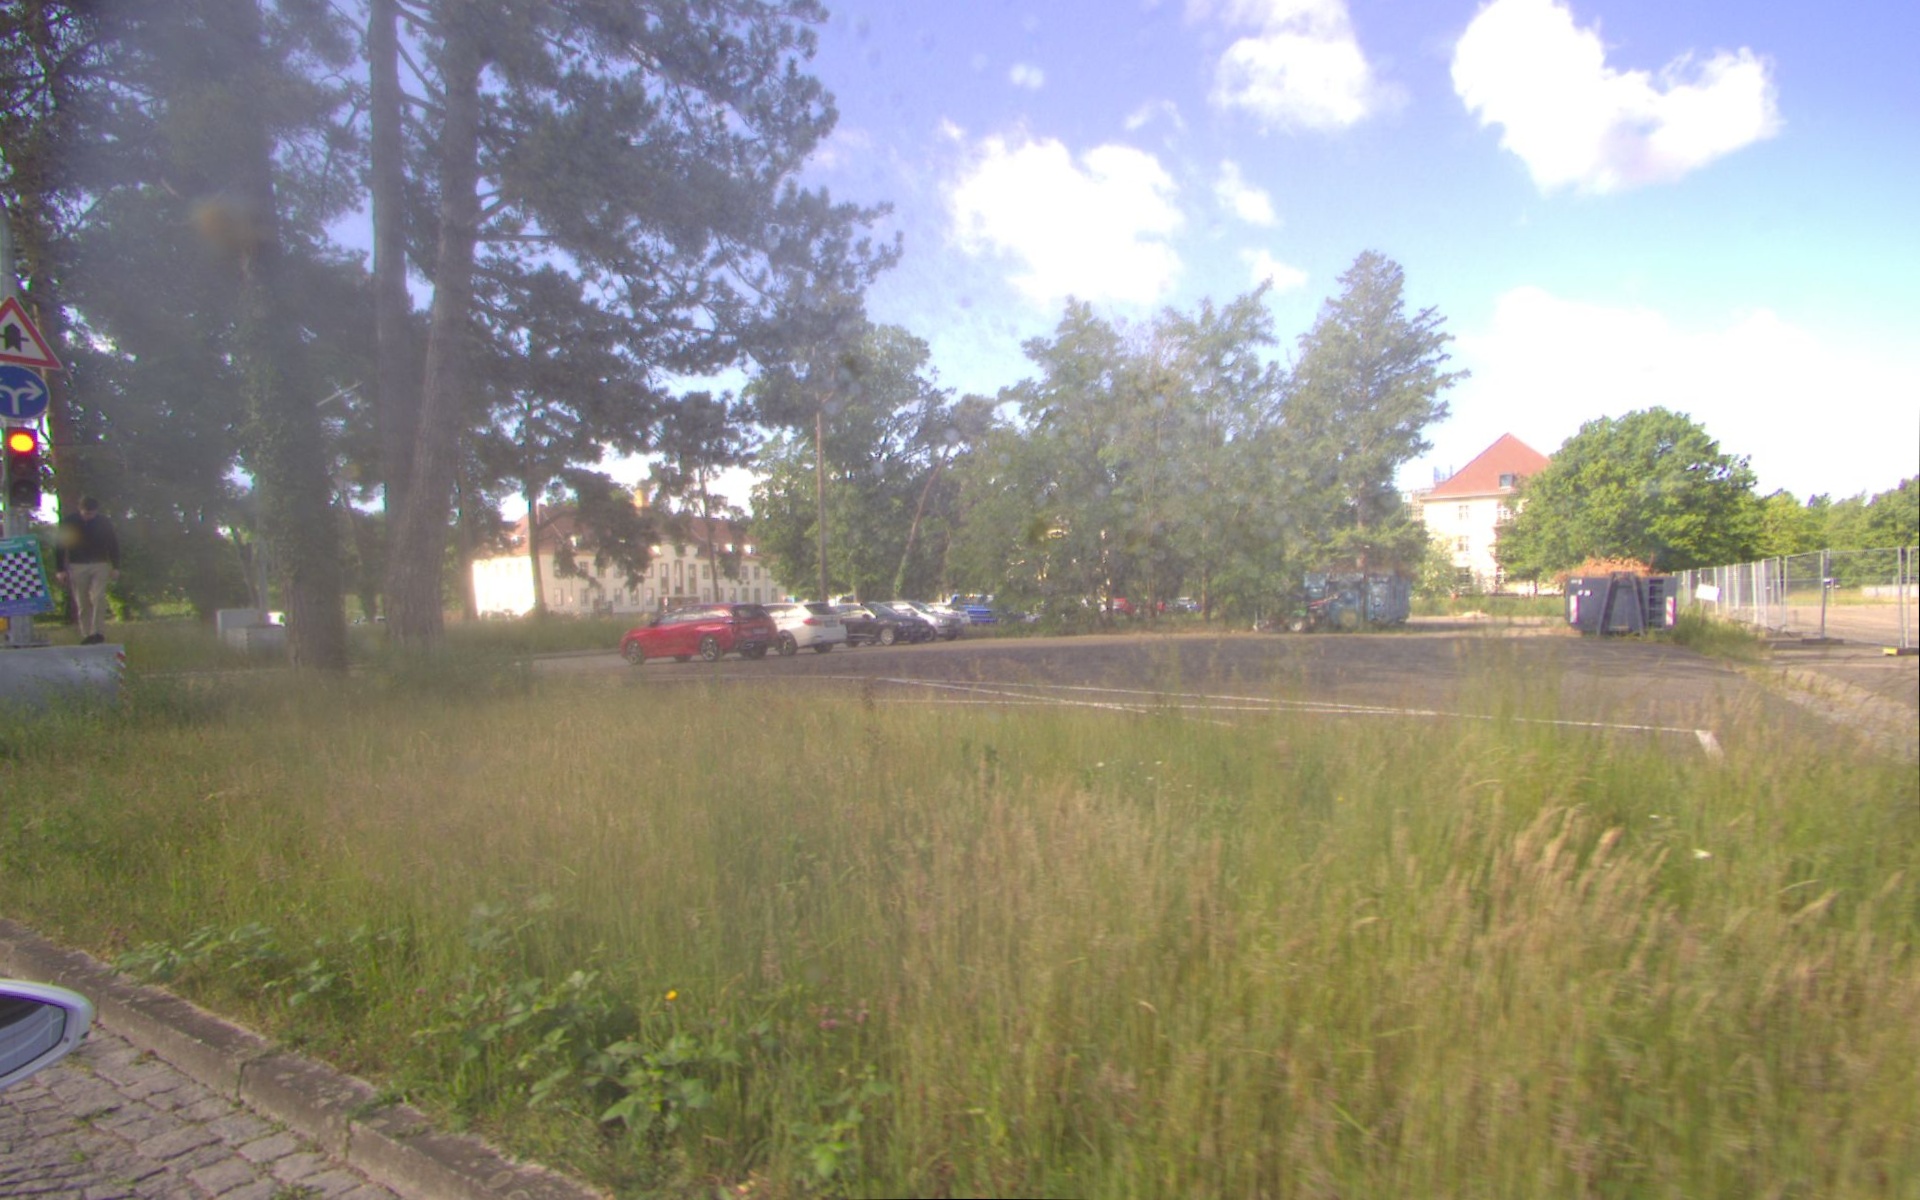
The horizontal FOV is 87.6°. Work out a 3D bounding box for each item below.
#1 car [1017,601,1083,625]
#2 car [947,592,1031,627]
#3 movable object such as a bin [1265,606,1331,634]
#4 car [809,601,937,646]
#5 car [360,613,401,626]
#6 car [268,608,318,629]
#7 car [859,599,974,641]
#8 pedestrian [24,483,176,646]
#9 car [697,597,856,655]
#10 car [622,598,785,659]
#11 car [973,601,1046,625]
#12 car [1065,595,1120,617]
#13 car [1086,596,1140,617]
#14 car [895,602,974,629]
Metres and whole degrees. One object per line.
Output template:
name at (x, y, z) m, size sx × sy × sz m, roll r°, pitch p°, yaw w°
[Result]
car at (6.055, 0.891, 67.534) m, size 4.180 × 1.568 × 1.720 m, roll -1°, pitch -1°, yaw 32°
car at (1.698, 0.579, 59.747) m, size 4.677 × 1.973 × 1.982 m, roll -1°, pitch -1°, yaw 32°
movable object such as a bin at (9.819, 0.587, 29.065) m, size 1.696 × 0.762 × 1.143 m, roll -1°, pitch 0°, yaw 25°
car at (-2.836, 0.743, 32.452) m, size 3.988 × 1.332 × 1.612 m, roll -1°, pitch 1°, yaw 33°
car at (-49.959, 1.677, 86.247) m, size 3.951 × 1.101 × 1.715 m, roll -1°, pitch 0°, yaw 38°
car at (-53.347, 1.511, 80.074) m, size 4.103 × 1.603 × 1.823 m, roll -1°, pitch 0°, yaw 32°
car at (-1.552, 0.704, 35.018) m, size 3.740 × 1.390 × 1.719 m, roll -1°, pitch -1°, yaw 34°
pedestrian at (-10.238, -0.402, 11.931) m, size 1.050 × 1.820 × 1.162 m, roll 0°, pitch 2°, yaw 40°
car at (-5.129, 0.739, 27.845) m, size 4.180 × 1.396 × 1.776 m, roll -3°, pitch -1°, yaw 31°
car at (-6.512, 0.752, 25.321) m, size 4.071 × 1.417 × 1.652 m, roll -2°, pitch -1°, yaw 32°
car at (3.060, 0.837, 62.100) m, size 4.180 × 1.443 × 1.720 m, roll -1°, pitch -1°, yaw 32°
car at (9.637, 0.466, 72.842) m, size 3.639 × 1.568 × 1.705 m, roll -1°, pitch -1°, yaw 32°
car at (11.649, 0.512, 76.249) m, size 3.682 × 1.568 × 1.705 m, roll -1°, pitch -1°, yaw 32°
car at (-1.439, 0.871, 55.585) m, size 4.180 × 1.487 × 1.720 m, roll -1°, pitch -1°, yaw 32°
